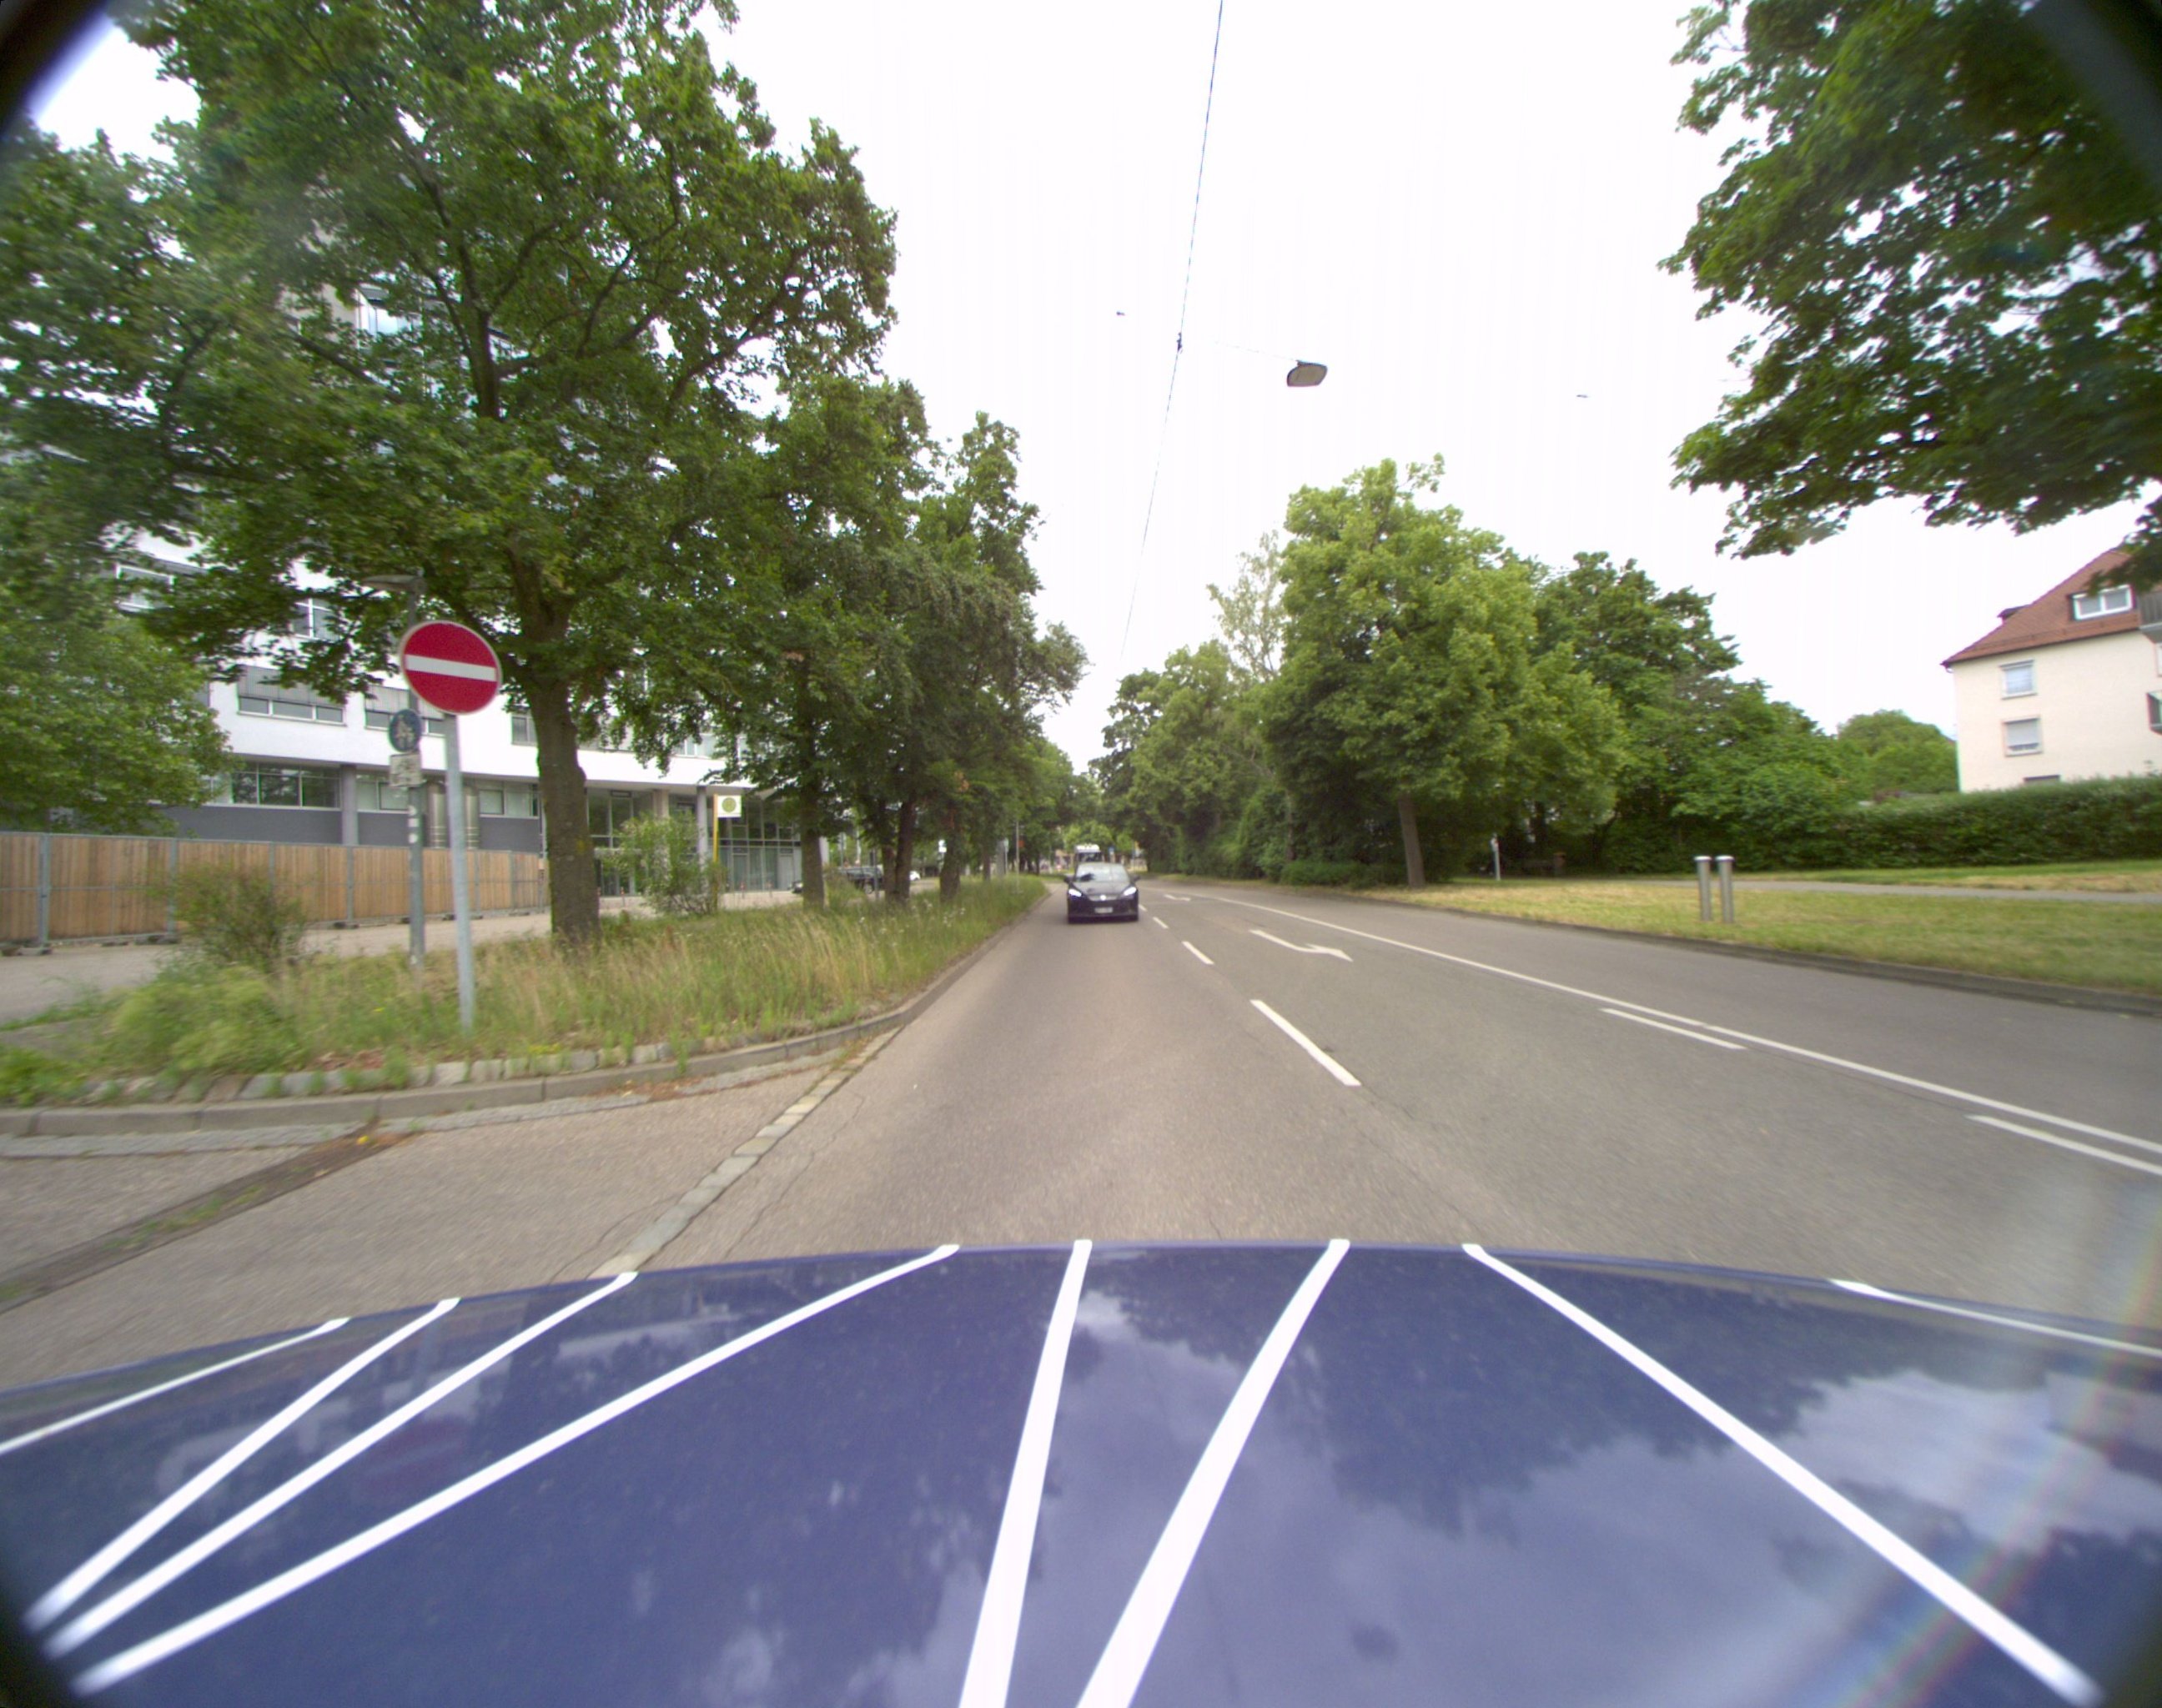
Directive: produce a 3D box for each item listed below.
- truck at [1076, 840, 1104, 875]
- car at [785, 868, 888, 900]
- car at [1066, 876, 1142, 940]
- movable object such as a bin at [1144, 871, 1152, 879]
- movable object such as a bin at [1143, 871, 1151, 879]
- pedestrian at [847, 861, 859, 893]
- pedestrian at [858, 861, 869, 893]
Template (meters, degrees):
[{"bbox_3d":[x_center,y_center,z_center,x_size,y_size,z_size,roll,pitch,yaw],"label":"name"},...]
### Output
[{"bbox_3d":[0.943,0.353,73.364,2.435,3.176,6.468,-2,-1,2],"label":"truck"},{"bbox_3d":[-12.715,1.504,39.680,4.752,1.507,1.866,0,-1,-44],"label":"car"},{"bbox_3d":[0.522,1.395,20.852,1.800,1.474,4.019,-1,-1,-2],"label":"car"},{"bbox_3d":[6.947,2.189,79.261,0.599,0.861,0.579,-6,-1,21],"label":"movable object such as a bin"},{"bbox_3d":[6.827,2.172,78.797,0.599,0.839,0.579,-6,-1,21],"label":"movable object such as a bin"},{"bbox_3d":[-12.457,1.279,41.541,0.499,1.714,0.535,2,-5,-29],"label":"pedestrian"},{"bbox_3d":[-12.029,1.256,42.004,0.475,1.743,0.583,2,-5,-29],"label":"pedestrian"}]
